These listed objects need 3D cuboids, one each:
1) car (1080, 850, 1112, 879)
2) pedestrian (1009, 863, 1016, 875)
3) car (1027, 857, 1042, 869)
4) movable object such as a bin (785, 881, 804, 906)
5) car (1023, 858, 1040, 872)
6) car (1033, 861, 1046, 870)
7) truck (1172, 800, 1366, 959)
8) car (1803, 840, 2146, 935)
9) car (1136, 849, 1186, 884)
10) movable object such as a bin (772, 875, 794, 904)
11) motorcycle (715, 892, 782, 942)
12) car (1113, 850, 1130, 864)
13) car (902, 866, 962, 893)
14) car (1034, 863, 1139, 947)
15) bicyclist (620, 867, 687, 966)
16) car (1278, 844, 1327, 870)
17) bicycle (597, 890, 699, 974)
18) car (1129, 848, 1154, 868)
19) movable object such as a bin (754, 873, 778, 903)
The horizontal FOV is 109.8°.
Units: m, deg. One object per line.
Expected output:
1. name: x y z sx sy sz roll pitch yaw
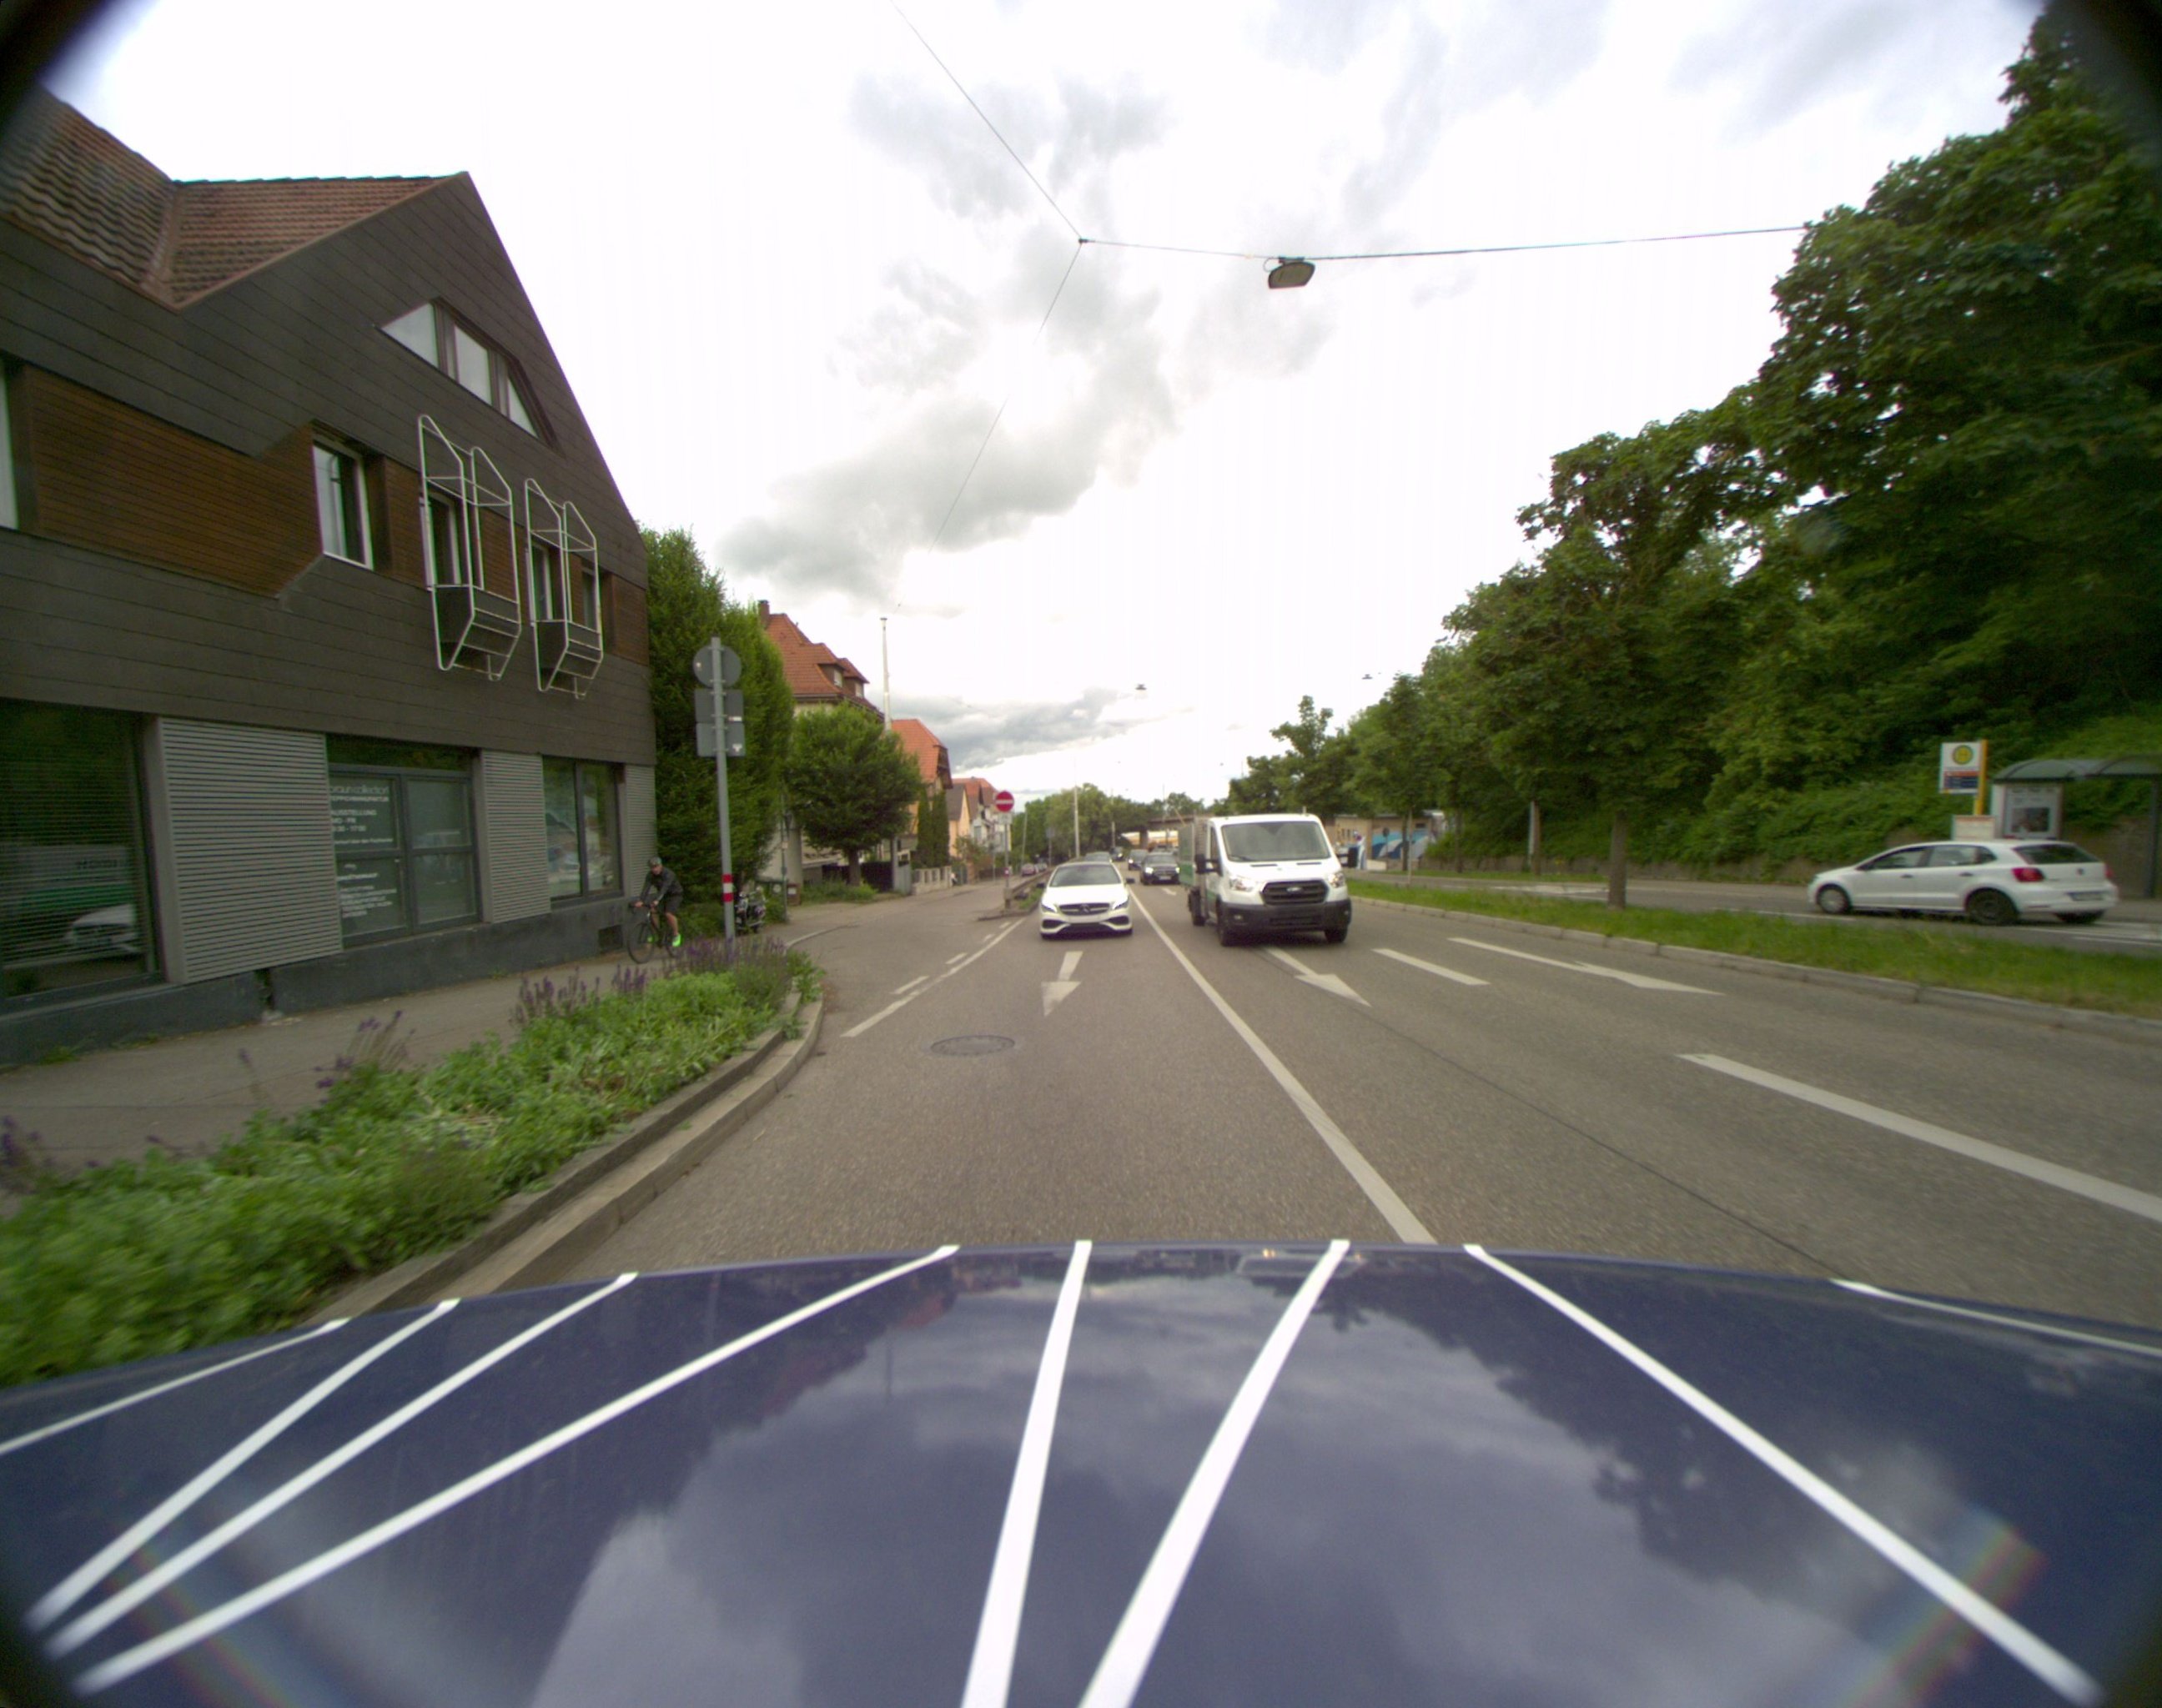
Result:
1. car: 0.923 0.577 44.670 1.777 1.532 4.001 -3 0 2
2. pedestrian: -8.286 1.804 91.340 0.713 1.462 0.695 -3 0 -1
3. car: -6.508 1.217 106.469 1.923 1.490 4.000 -3 0 -1
4. movable object such as a bin: -10.984 1.503 29.151 0.453 0.934 0.560 2 0 0
5. car: -6.248 1.425 96.801 1.923 1.641 4.000 -3 0 -1
6. car: -6.637 1.847 122.880 1.851 1.354 3.999 -2 0 -1
7. truck: 3.164 0.331 14.393 2.080 2.308 6.330 -1 1 0
8. car: 15.813 0.498 13.802 1.733 1.420 3.789 -3 1 -1
9. car: 3.738 0.582 36.165 1.915 1.472 4.400 -3 0 1
10. movable object such as a bin: -11.436 1.348 29.128 0.543 1.049 0.560 5 0 0
11. motorcycle: -8.042 1.493 18.493 0.697 1.045 1.967 -1 0 2
12. car: 5.116 0.372 95.952 1.776 1.783 4.002 -1 0 7
13. car: -10.431 1.764 53.202 3.799 1.396 1.544 -7 1 -18
14. car: 0.175 0.939 15.551 1.817 1.390 4.000 -2 0 2
15. bicyclist: -7.336 1.044 13.074 0.539 1.624 0.947 -2 0 1
16. car: 14.435 0.187 49.687 1.784 1.551 4.458 -2 0 -1
17. bicycle: -7.328 1.273 12.989 0.572 1.254 2.039 -1 -1 0
18. car: 4.852 0.318 61.371 1.777 1.520 4.001 -1 0 2
19. movable object such as a bin: -12.030 1.288 29.011 0.543 1.074 0.656 5 0 0
